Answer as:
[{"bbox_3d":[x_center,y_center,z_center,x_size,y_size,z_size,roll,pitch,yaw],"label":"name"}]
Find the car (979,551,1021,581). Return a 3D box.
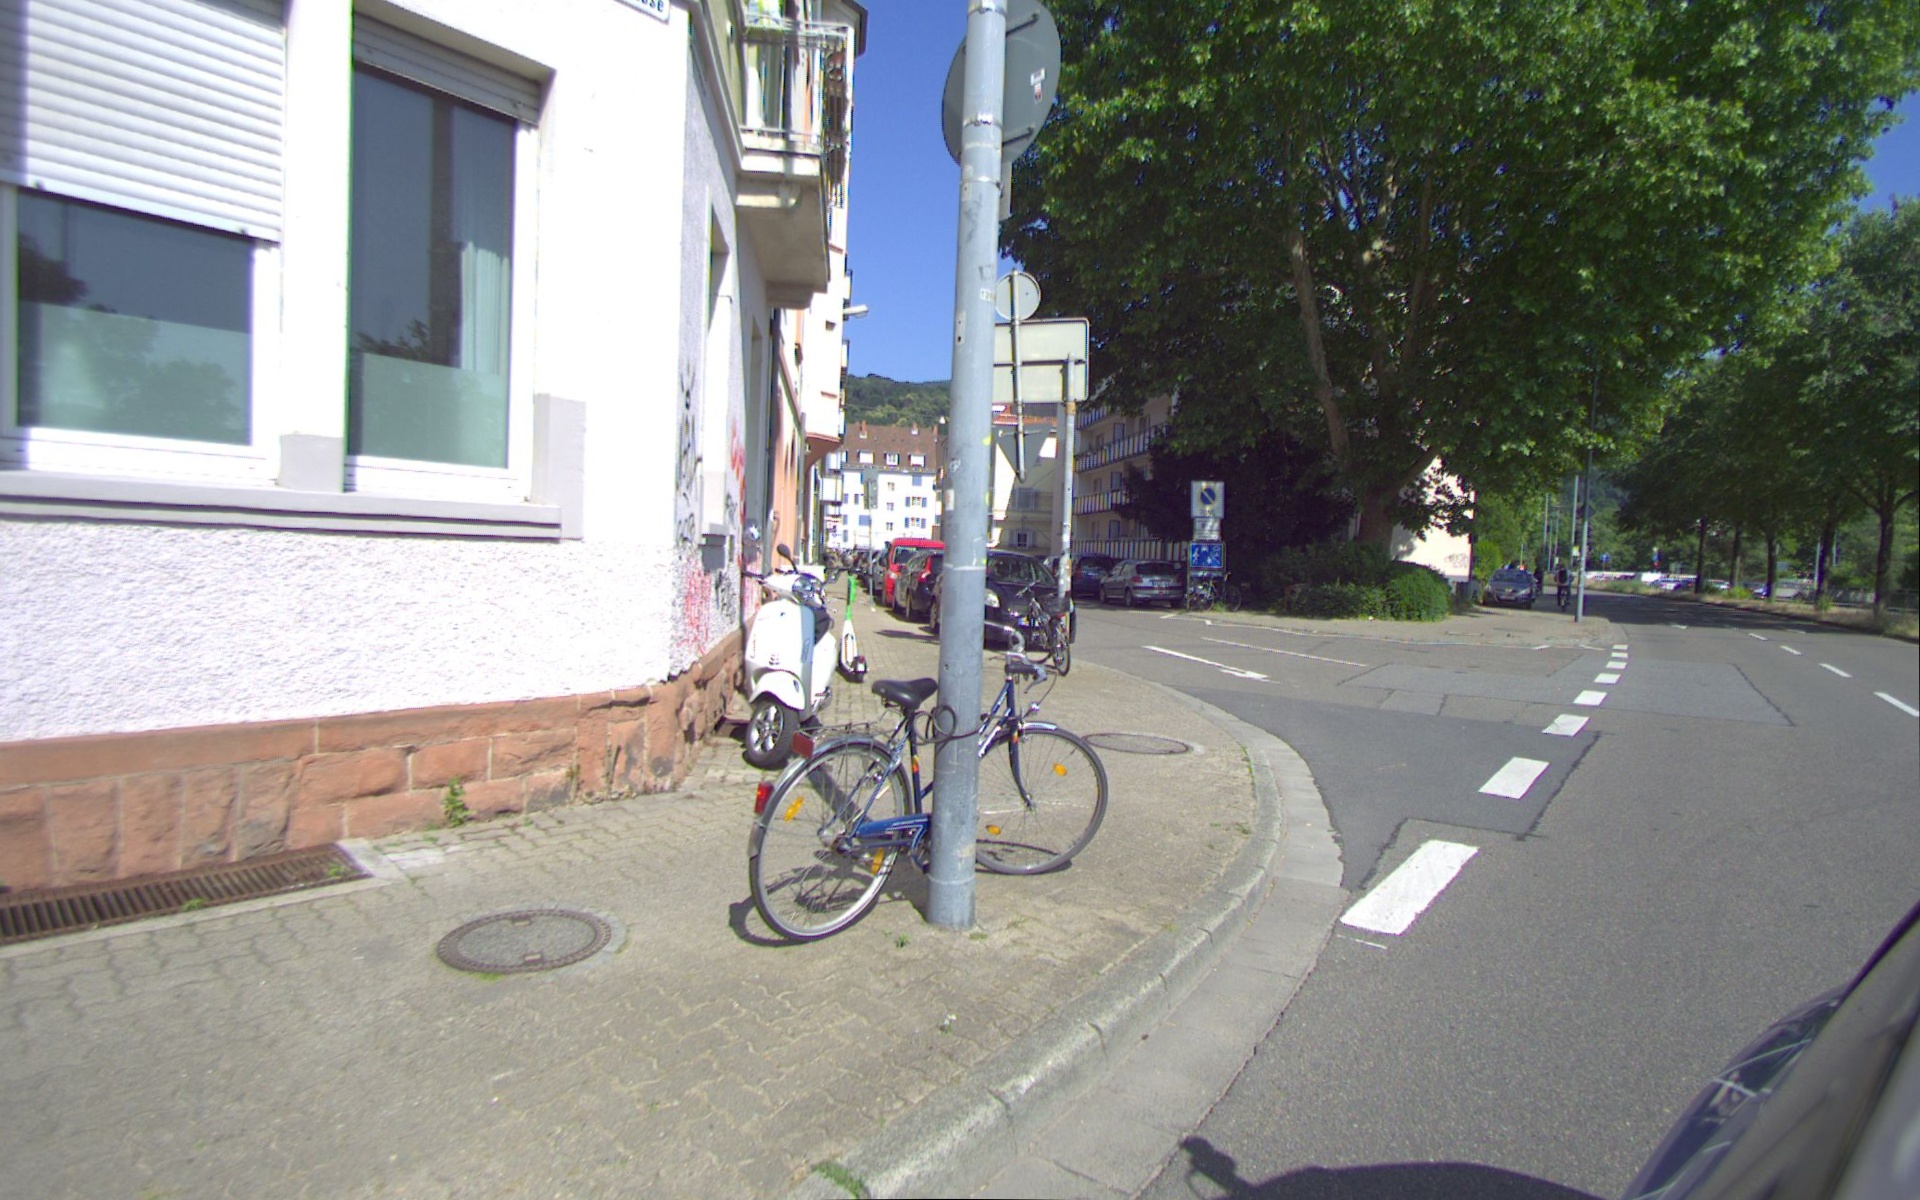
[{"bbox_3d":[2.175,-1.892,55.692,1.719,1.538,3.678,2,3,-6],"label":"car"}]

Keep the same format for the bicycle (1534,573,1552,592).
[{"bbox_3d":[36.346,-1.083,63.125,0.654,1.136,1.789,4,3,23],"label":"bicycle"}]

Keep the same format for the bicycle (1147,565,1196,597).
[{"bbox_3d":[7.471,-0.674,35.764,1.543,1.005,0.458,3,3,-8],"label":"bicycle"}]

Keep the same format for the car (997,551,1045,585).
[{"bbox_3d":[2.957,-1.601,49.991,1.719,1.538,3.678,2,3,-6],"label":"car"}]

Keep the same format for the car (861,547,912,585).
[{"bbox_3d":[-3.227,-1.515,43.812,1.830,1.504,4.009,2,3,-9],"label":"car"}]

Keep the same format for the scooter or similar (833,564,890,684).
[{"bbox_3d":[-1.059,0.216,10.657,0.269,1.141,1.452,3,2,-16],"label":"scooter or similar"}]

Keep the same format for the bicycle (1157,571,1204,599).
[{"bbox_3d":[7.537,-0.510,34.648,1.476,0.843,0.385,3,3,-8],"label":"bicycle"}]

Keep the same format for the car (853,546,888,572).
[{"bbox_3d":[-5.554,-2.531,62.155,1.830,1.504,3.871,2,3,-9],"label":"car"}]

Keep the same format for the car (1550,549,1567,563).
[{"bbox_3d":[84.256,-6.172,142.519,1.617,1.833,3.564,4,3,24],"label":"car"}]

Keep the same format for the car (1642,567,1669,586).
[{"bbox_3d":[73.656,-2.532,107.143,1.618,1.938,3.651,4,3,24],"label":"car"}]

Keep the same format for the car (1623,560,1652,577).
[{"bbox_3d":[82.678,-3.873,123.571,1.978,1.889,3.971,5,4,22],"label":"car"}]

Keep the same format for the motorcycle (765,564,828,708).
[{"bbox_3d":[-1.402,0.266,8.832,0.420,1.107,1.452,3,2,-7],"label":"motorcycle"}]

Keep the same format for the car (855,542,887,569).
[{"bbox_3d":[-6.112,-3.063,69.239,1.830,1.743,3.871,2,3,-9],"label":"car"}]

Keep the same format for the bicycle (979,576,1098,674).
[{"bbox_3d":[0.931,0.270,12.616,0.613,1.046,1.887,1,3,-24],"label":"bicycle"}]

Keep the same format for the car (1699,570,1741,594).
[{"bbox_3d":[65.748,-1.577,87.583,1.979,1.914,3.968,3,3,24],"label":"car"}]

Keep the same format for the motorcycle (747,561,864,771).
[{"bbox_3d":[-0.999,0.362,6.864,0.465,1.163,1.766,4,4,0],"label":"motorcycle"}]

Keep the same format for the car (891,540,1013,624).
[{"bbox_3d":[-0.286,-0.445,21.282,1.947,1.561,4.072,1,3,-9],"label":"car"}]

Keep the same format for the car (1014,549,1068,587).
[{"bbox_3d":[3.626,-1.480,45.740,1.719,1.538,3.678,2,3,-6],"label":"car"}]

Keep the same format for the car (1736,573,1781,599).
[{"bbox_3d":[62.907,-1.150,79.767,1.982,1.914,3.962,3,3,28],"label":"car"}]

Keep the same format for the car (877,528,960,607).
[{"bbox_3d":[-1.168,-0.895,26.584,1.834,1.863,4.233,2,3,-6],"label":"car"}]

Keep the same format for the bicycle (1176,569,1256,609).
[{"bbox_3d":[7.047,-0.308,27.946,1.859,0.995,0.976,2,3,-11],"label":"bicycle"}]

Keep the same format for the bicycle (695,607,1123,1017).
[{"bbox_3d":[-0.090,0.615,3.739,0.576,1.100,1.711,4,3,38],"label":"bicycle"}]

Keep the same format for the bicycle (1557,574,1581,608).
[{"bbox_3d":[22.648,-0.355,37.647,0.551,1.203,1.269,4,3,38],"label":"bicycle"}]

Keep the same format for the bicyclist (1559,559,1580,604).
[{"bbox_3d":[22.673,-0.693,37.652,0.538,1.653,0.582,4,3,37],"label":"bicyclist"}]

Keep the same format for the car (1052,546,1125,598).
[{"bbox_3d":[4.533,-1.047,36.249,1.719,1.677,3.786,2,3,-6],"label":"car"}]

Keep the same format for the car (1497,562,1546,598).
[{"bbox_3d":[27.473,-1.021,49.590,1.629,1.593,3.970,3,3,23],"label":"car"}]

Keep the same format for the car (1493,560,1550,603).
[{"bbox_3d":[21.819,-0.755,39.363,1.778,1.531,3.855,4,3,29],"label":"car"}]

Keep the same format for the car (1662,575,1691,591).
[{"bbox_3d":[71.143,-1.708,100.554,1.617,1.513,3.651,3,3,24],"label":"car"}]

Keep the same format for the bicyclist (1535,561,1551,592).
[{"bbox_3d":[36.370,-1.475,63.164,0.641,1.917,0.833,3,3,23],"label":"bicyclist"}]

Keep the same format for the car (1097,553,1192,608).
[{"bbox_3d":[5.515,-0.635,30.670,1.774,1.469,3.801,2,3,-6],"label":"car"}]

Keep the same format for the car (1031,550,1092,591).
[{"bbox_3d":[4.081,-1.239,41.322,1.719,1.538,3.678,2,3,-6],"label":"car"}]

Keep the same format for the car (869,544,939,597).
[{"bbox_3d":[-1.862,-0.991,32.225,1.831,1.504,4.008,2,3,-8],"label":"car"}]

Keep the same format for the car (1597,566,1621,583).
[{"bbox_3d":[74.891,-2.989,116.808,1.617,1.833,3.564,4,3,24],"label":"car"}]

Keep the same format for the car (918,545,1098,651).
[{"bbox_3d":[0.636,-0.118,16.416,1.788,1.464,3.778,1,3,-15],"label":"car"}]
